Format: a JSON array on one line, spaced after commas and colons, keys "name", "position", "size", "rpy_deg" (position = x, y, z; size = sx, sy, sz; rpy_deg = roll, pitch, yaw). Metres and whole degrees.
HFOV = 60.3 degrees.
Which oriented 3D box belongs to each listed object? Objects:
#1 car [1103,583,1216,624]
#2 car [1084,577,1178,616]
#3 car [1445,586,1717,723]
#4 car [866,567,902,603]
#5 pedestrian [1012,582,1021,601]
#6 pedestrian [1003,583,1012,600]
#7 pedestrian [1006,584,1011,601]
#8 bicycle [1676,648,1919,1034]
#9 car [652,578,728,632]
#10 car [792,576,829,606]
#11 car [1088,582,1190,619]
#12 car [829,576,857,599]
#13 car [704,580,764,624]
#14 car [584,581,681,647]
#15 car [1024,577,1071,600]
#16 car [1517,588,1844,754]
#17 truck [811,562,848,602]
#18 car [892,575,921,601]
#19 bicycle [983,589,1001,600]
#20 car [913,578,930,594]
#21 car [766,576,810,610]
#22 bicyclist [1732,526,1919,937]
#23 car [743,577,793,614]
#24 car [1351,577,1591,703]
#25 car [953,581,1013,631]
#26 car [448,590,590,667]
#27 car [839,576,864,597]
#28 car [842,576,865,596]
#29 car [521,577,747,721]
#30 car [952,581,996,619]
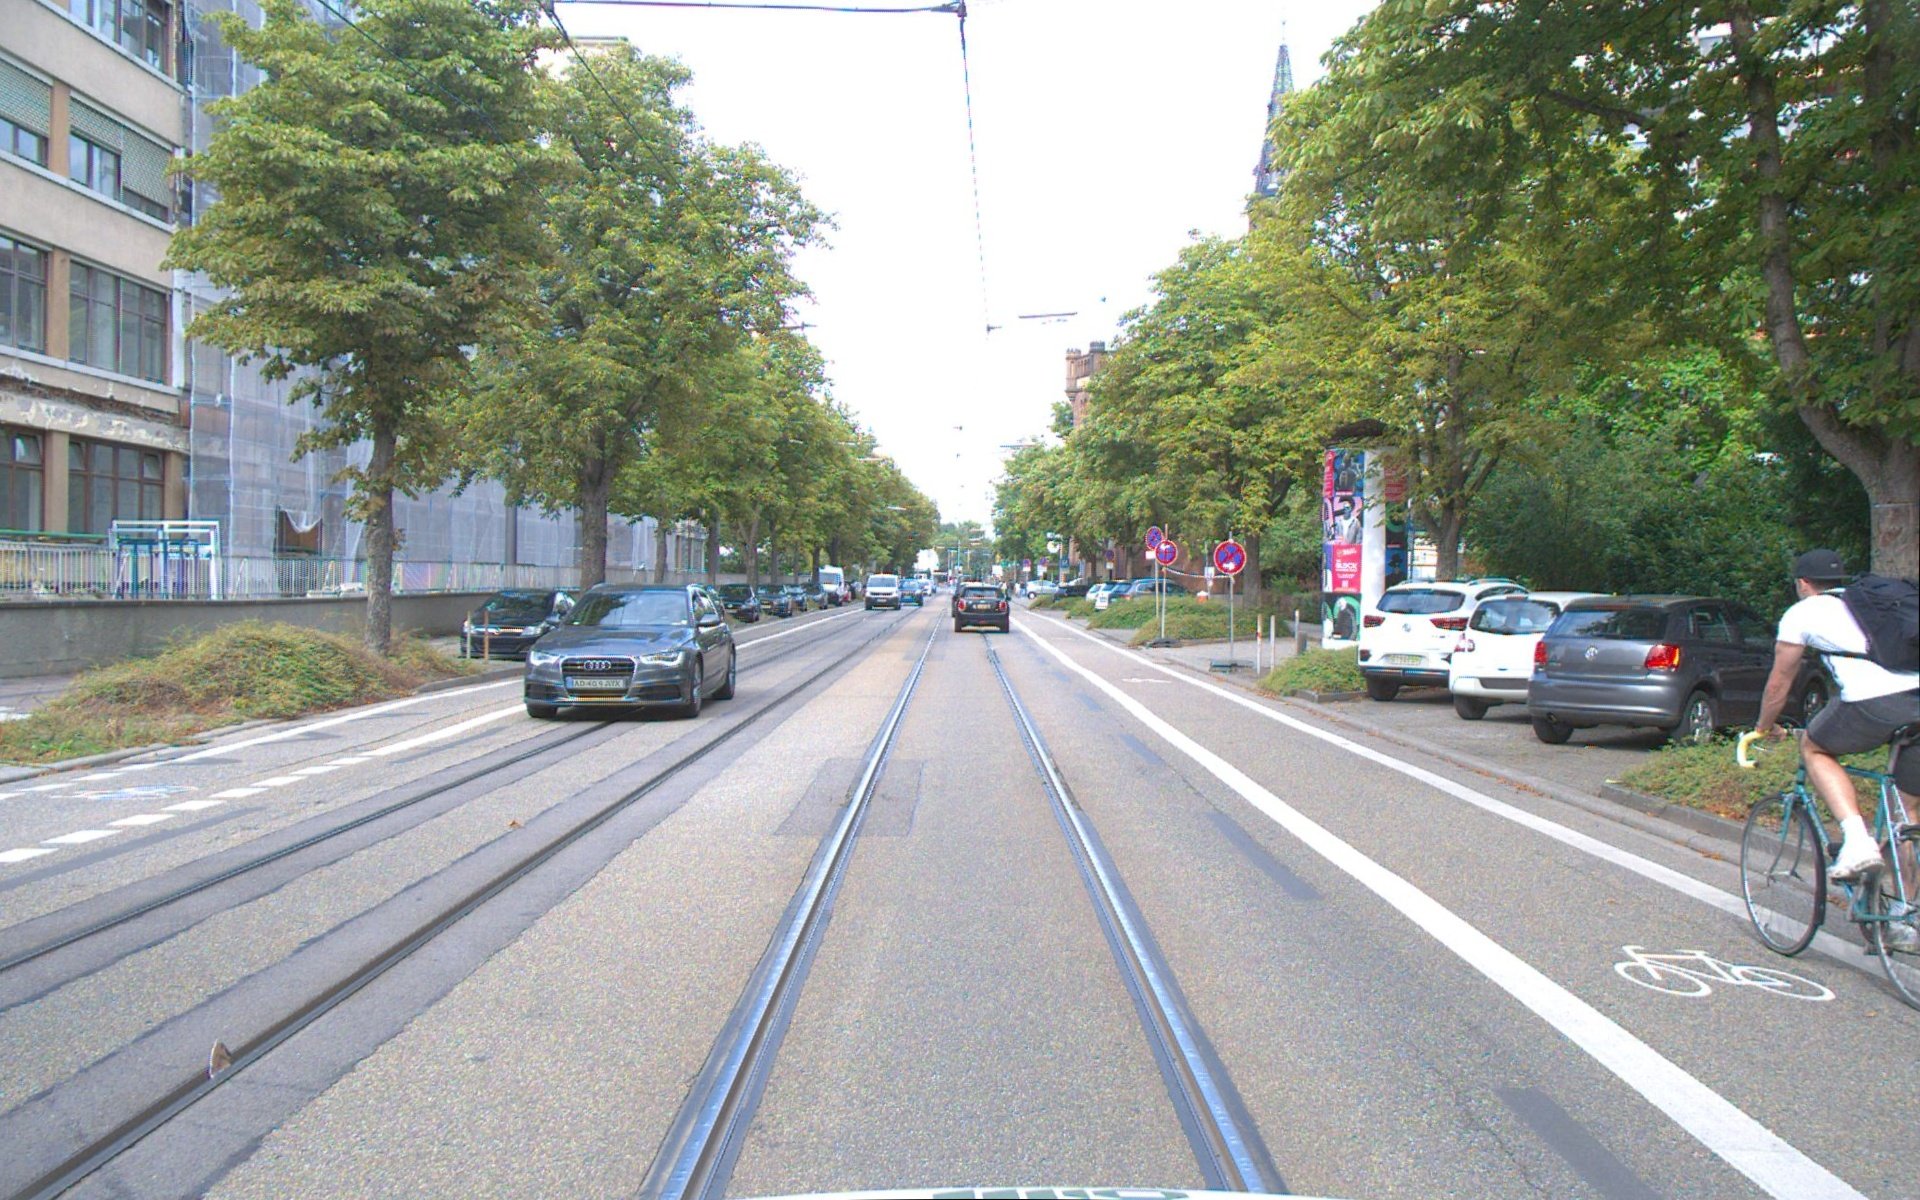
[{"name": "car", "position": [7.377, 0.129, 61.351], "size": [3.907, 1.449, 1.884], "rpy_deg": [1, 1, -3]}, {"name": "car", "position": [7.590, -0.157, 73.657], "size": [3.907, 1.656, 1.884], "rpy_deg": [1, 1, -3]}, {"name": "car", "position": [7.412, 0.596, 19.640], "size": [3.414, 1.468, 1.538], "rpy_deg": [0, 1, -39]}, {"name": "car", "position": [-3.987, -0.782, 87.125], "size": [1.766, 1.855, 4.484], "rpy_deg": [0, 1, -1]}, {"name": "pedestrian", "position": [4.957, -0.752, 144.328], "size": [0.711, 1.674, 0.767], "rpy_deg": [1, 1, 1]}, {"name": "pedestrian", "position": [4.791, -0.831, 167.303], "size": [0.711, 1.674, 0.767], "rpy_deg": [2, 1, 10]}, {"name": "pedestrian", "position": [5.873, -0.856, 199.419], "size": [0.507, 2.049, 0.480], "rpy_deg": [1, 1, 3]}, {"name": "bicycle", "position": [3.685, 0.882, 6.622], "size": [0.644, 1.270, 2.124], "rpy_deg": [1, 1, -1]}, {"name": "car", "position": [-8.412, 0.121, 51.818], "size": [1.766, 1.611, 4.030], "rpy_deg": [0, 1, -1]}, {"name": "car", "position": [-8.381, -0.514, 93.152], "size": [1.766, 1.611, 4.030], "rpy_deg": [0, 1, -1]}, {"name": "car", "position": [7.370, 0.023, 68.252], "size": [3.907, 1.449, 1.884], "rpy_deg": [1, 1, -3]}, {"name": "car", "position": [-8.364, -0.883, 118.743], "size": [1.766, 1.611, 4.030], "rpy_deg": [0, 1, -1]}, {"name": "car", "position": [-8.518, 0.061, 62.552], "size": [1.766, 1.611, 4.030], "rpy_deg": [0, 1, -1]}, {"name": "car", "position": [-8.445, 0.332, 42.948], "size": [1.766, 1.611, 4.030], "rpy_deg": [0, 1, -1]}, {"name": "car", "position": [7.707, -1.029, 145.471], "size": [3.907, 1.944, 1.999], "rpy_deg": [2, 1, -3]}, {"name": "car", "position": [7.277, 0.641, 16.588], "size": [3.501, 1.468, 1.601], "rpy_deg": [0, 1, -39]}, {"name": "truck", "position": [-8.385, -1.139, 106.229], "size": [2.029, 2.513, 4.898], "rpy_deg": [0, 0, -1]}, {"name": "car", "position": [-3.423, -0.785, 106.861], "size": [1.766, 1.650, 4.484], "rpy_deg": [0, 1, -1]}, {"name": "bicycle", "position": [3.226, -0.547, 167.437], "size": [1.684, 1.009, 0.659], "rpy_deg": [2, 1, 8]}, {"name": "car", "position": [-4.050, -1.470, 173.714], "size": [1.766, 1.650, 4.484], "rpy_deg": [0, 1, -1]}, {"name": "car", "position": [-8.461, -0.342, 81.516], "size": [1.766, 1.611, 4.030], "rpy_deg": [0, 1, -1]}, {"name": "bicyclist", "position": [3.704, 0.474, 6.592], "size": [0.644, 1.489, 1.178], "rpy_deg": [1, 1, -1]}, {"name": "car", "position": [-8.414, -0.213, 72.787], "size": [1.766, 1.611, 4.030], "rpy_deg": [0, 1, -1]}, {"name": "car", "position": [7.061, 0.507, 22.737], "size": [3.414, 1.600, 1.538], "rpy_deg": [0, 1, -39]}, {"name": "car", "position": [0.677, 0.170, 51.456], "size": [1.757, 1.447, 4.000], "rpy_deg": [1, 1, -1]}, {"name": "car", "position": [-8.594, 0.517, 32.555], "size": [1.766, 1.398, 4.030], "rpy_deg": [0, 1, -1]}, {"name": "car", "position": [-8.599, -1.074, 131.844], "size": [1.766, 1.611, 4.030], "rpy_deg": [0, 1, -1]}, {"name": "car", "position": [-8.871, -1.144, 137.924], "size": [1.766, 1.611, 4.030], "rpy_deg": [0, 1, -1]}, {"name": "car", "position": [-3.680, 0.480, 19.470], "size": [1.797, 1.473, 4.553], "rpy_deg": [1, 1, -1]}, {"name": "car", "position": [0.589, -0.025, 70.933], "size": [1.757, 1.495, 4.000], "rpy_deg": [2, 1, 0]}]
